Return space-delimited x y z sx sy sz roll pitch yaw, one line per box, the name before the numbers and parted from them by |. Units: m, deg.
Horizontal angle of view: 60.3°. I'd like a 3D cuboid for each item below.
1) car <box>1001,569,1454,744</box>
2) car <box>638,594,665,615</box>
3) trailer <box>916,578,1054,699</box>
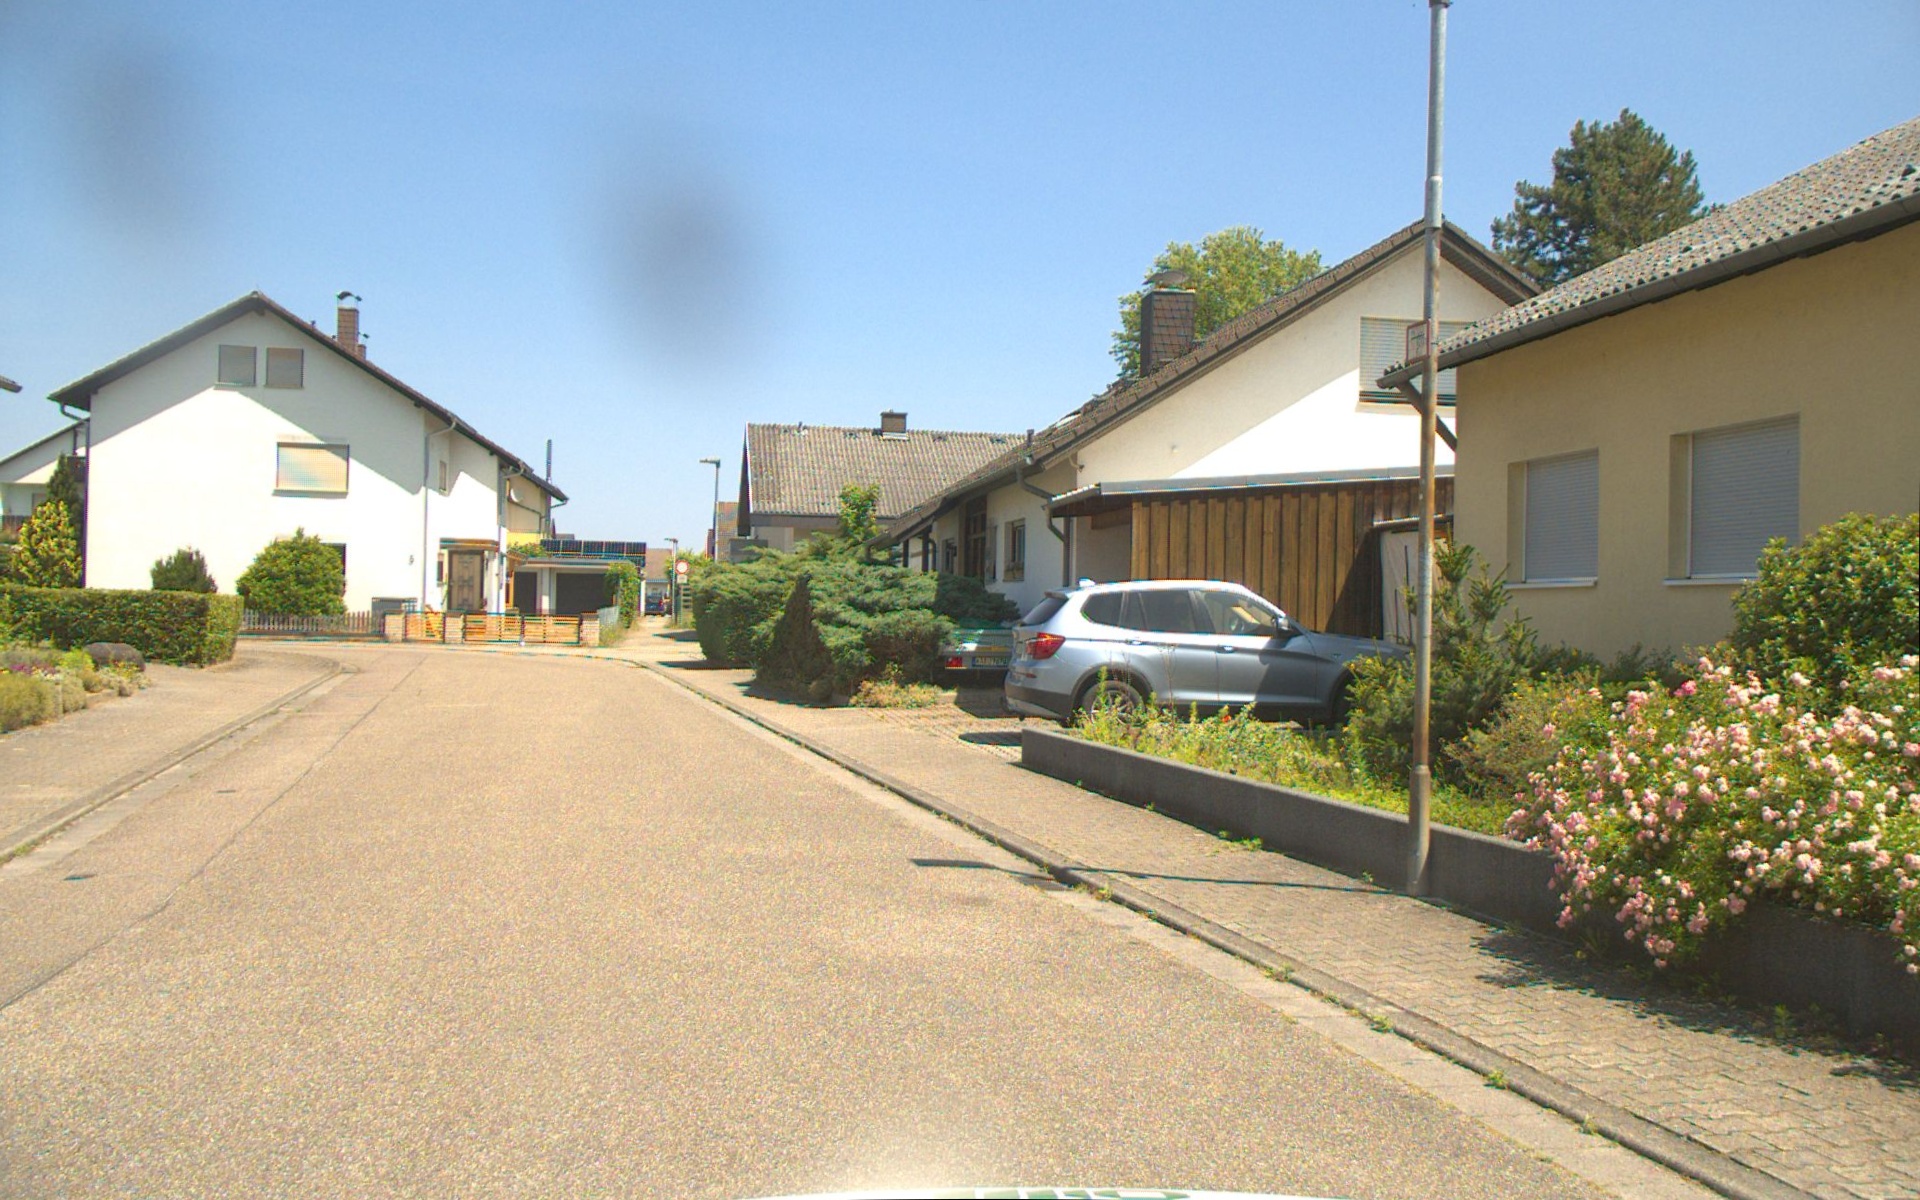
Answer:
car | 2.813 0.564 17.858 4.539 1.732 1.707 -1 0 -7
car | -26.122 0.336 140.111 2.153 1.731 3.799 1 0 -9
trailer | 0.313 0.524 25.118 1.558 1.701 3.290 -1 1 -9
